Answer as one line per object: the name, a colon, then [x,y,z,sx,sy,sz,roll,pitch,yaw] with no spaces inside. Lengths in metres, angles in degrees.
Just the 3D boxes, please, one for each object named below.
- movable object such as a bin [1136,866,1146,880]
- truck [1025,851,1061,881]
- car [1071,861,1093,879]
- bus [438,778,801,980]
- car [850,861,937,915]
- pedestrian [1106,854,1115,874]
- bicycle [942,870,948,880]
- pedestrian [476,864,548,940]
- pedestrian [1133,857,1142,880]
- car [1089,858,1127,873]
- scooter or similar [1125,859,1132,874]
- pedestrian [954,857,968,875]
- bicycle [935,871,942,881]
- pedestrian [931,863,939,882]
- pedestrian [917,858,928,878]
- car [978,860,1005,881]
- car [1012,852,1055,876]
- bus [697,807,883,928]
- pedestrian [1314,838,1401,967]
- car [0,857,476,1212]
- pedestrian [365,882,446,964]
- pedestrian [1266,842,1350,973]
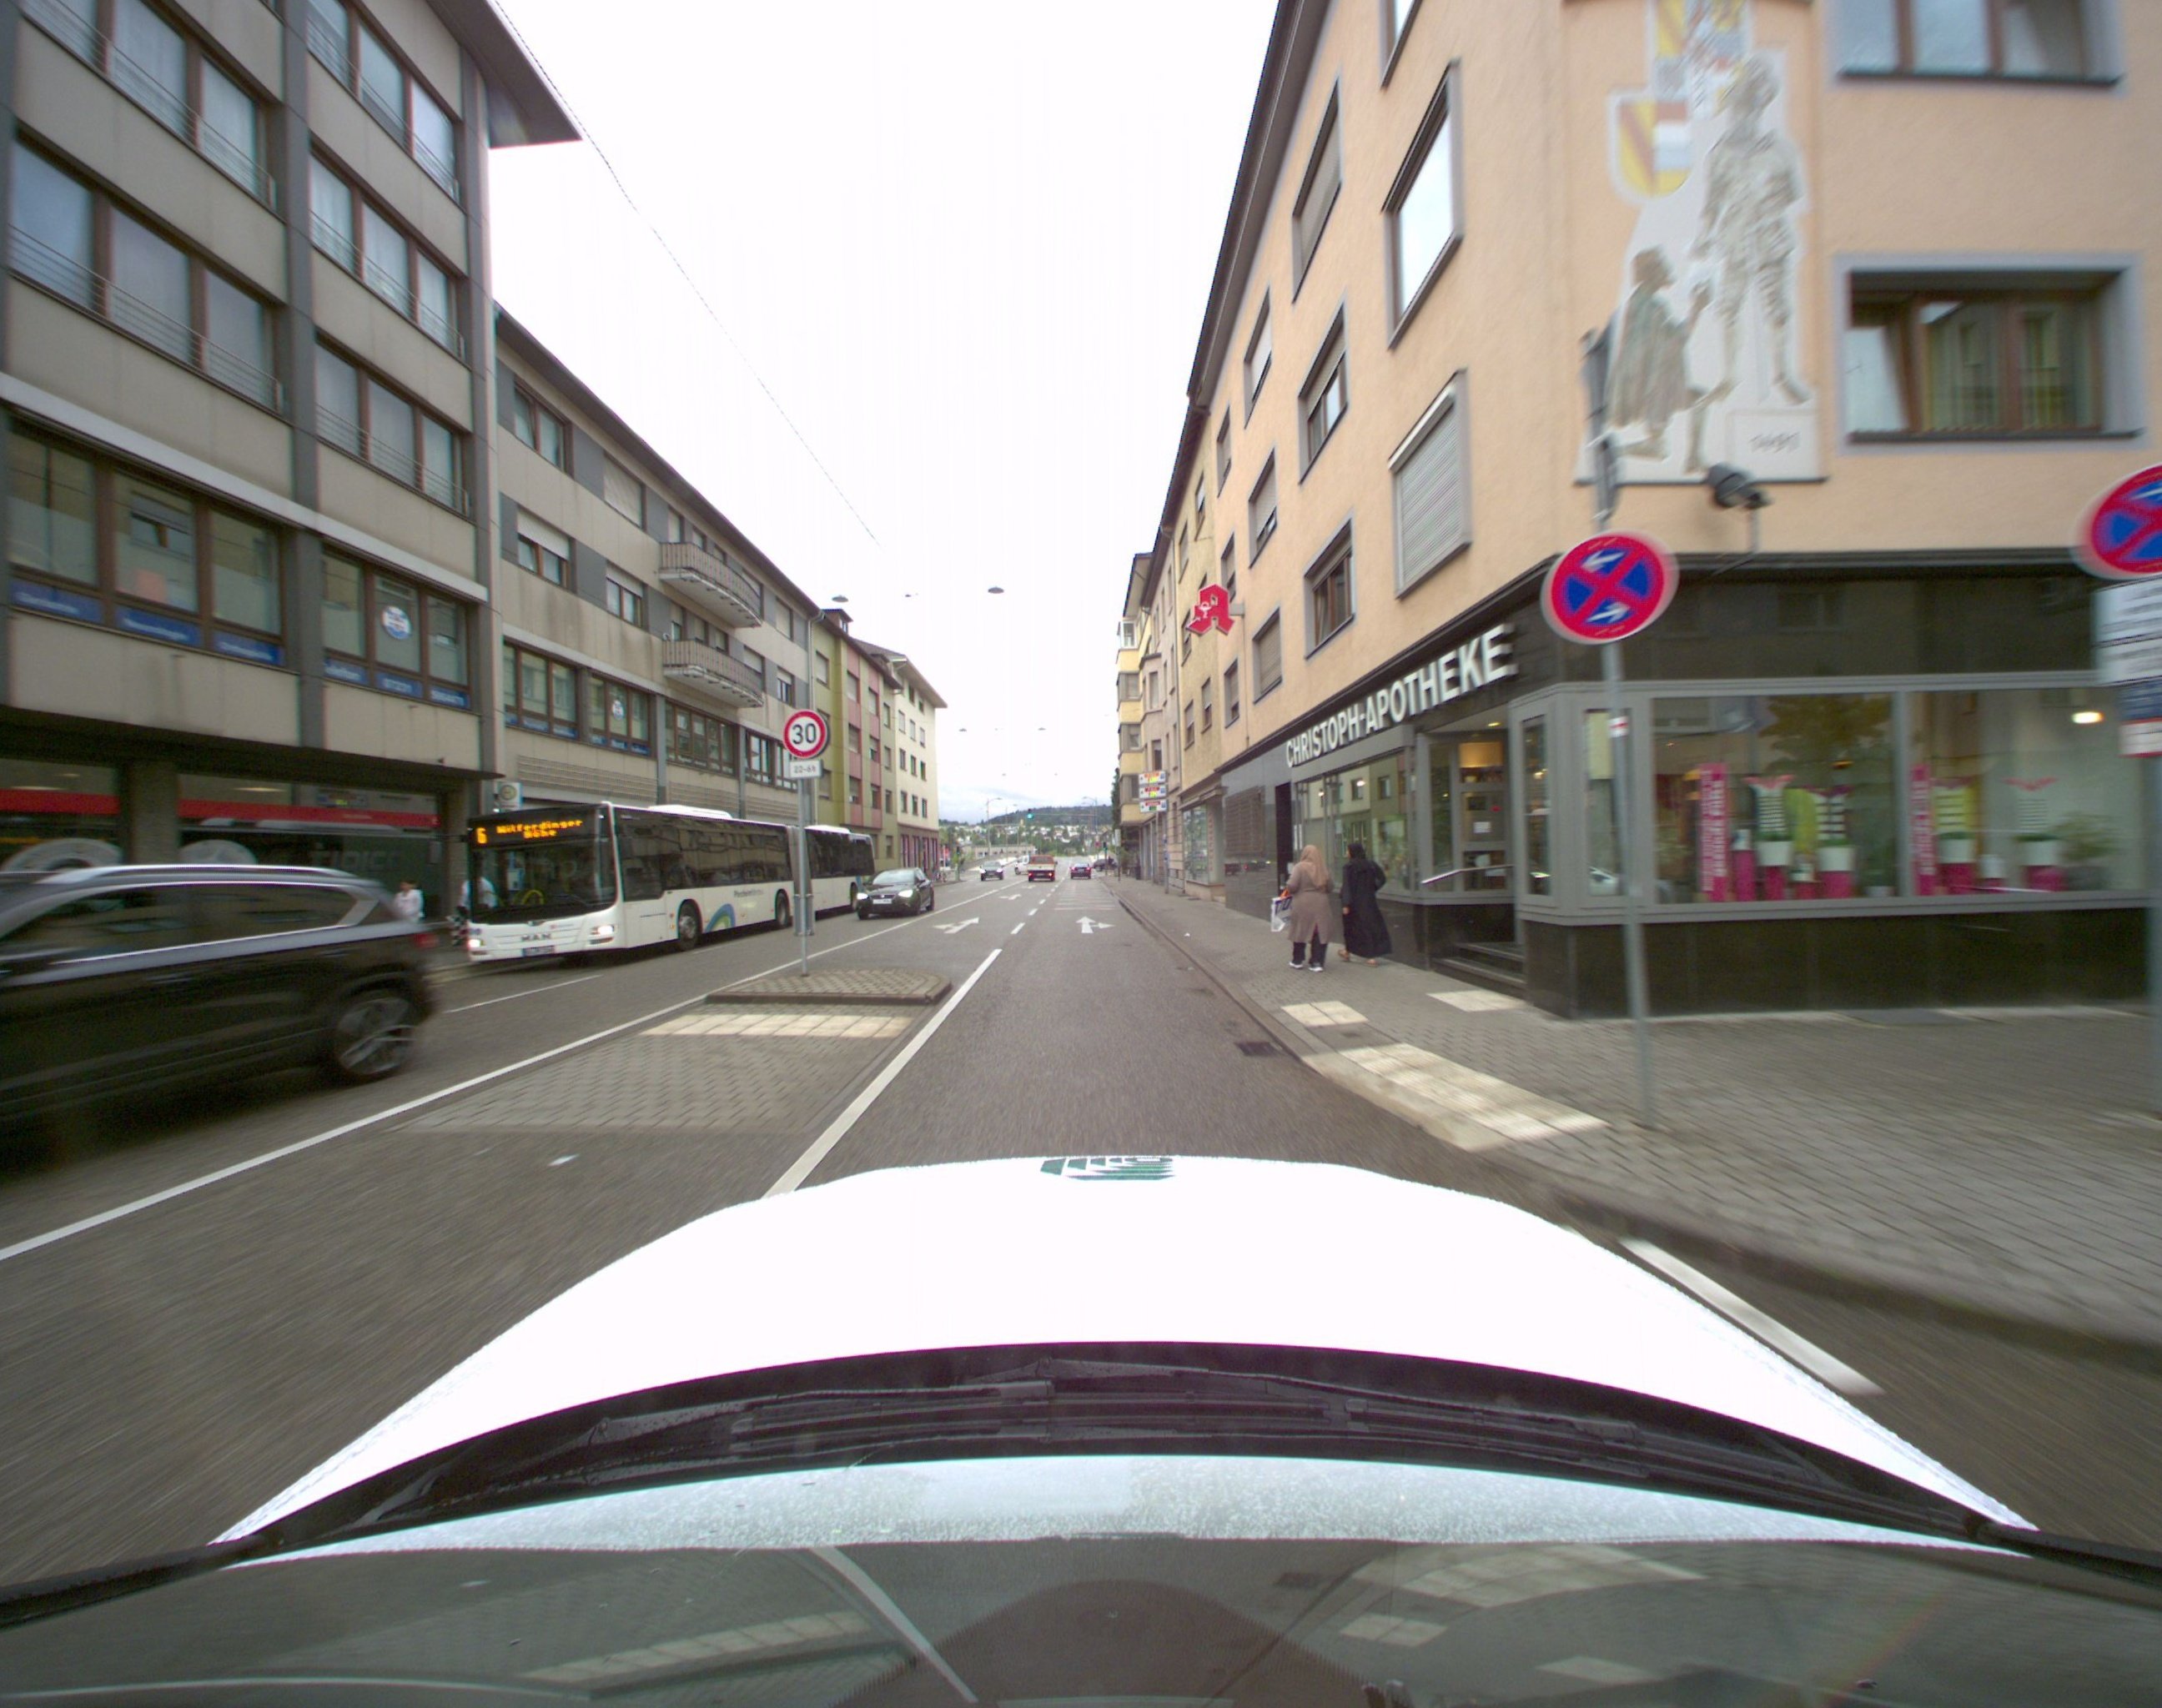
movable object such as a bin: [4.009,1.244,54.162,0.598,0.926,0.704,-2,-1,-1]
truck: [-2.821,0.888,61.165,2.392,2.129,5.313,-2,-1,0]
car: [0.083,1.336,67.980,1.748,1.479,3.999,0,-1,0]
bus: [-9.022,0.454,17.686,2.750,3.188,8.909,-2,-1,0]
car: [-5.550,0.964,24.603,1.704,1.451,4.083,-2,-1,-1]
pedestrian: [2.719,0.929,74.410,0.731,1.841,0.630,-2,-1,-2]
bicycle: [-11.072,1.709,66.286,0.263,0.783,1.111,-2,-1,0]
pedestrian: [-12.406,1.019,17.777,0.941,1.589,0.835,-2,-1,2]
pedestrian: [4.329,1.109,62.291,0.616,1.699,0.657,-2,-1,3]
car: [3.064,1.278,92.171,3.959,1.552,2.007,-2,-1,13]
scooter or similar: [3.898,1.029,67.029,0.509,1.172,1.549,-2,-1,0]
pedestrian: [-13.821,1.332,93.851,0.973,2.014,1.181,-3,-1,37]
bicycle: [-11.517,1.741,65.922,0.263,0.783,1.421,-2,-1,0]
pedestrian: [-12.124,1.513,67.642,0.573,1.553,0.739,-2,-1,-3]
pedestrian: [-13.160,1.148,67.731,0.771,1.577,0.588,-2,-1,-1]
car: [-7.788,1.407,71.056,1.926,1.757,4.569,-2,-1,-2]
car: [-4.931,1.039,84.478,2.009,2.350,4.953,-1,-1,-37]
bus: [-9.050,0.412,26.823,2.717,3.188,9.290,-2,-1,0]
pedestrian: [3.540,0.599,10.493,0.766,1.560,0.875,-2,-1,-2]
car: [-6.059,0.912,4.617,1.736,1.662,4.421,-2,0,3]
pedestrian: [-12.154,1.216,14.673,0.765,1.396,0.787,-2,-1,2]
pedestrian: [2.850,0.656,10.286,0.776,1.560,0.782,-2,-1,-2]
